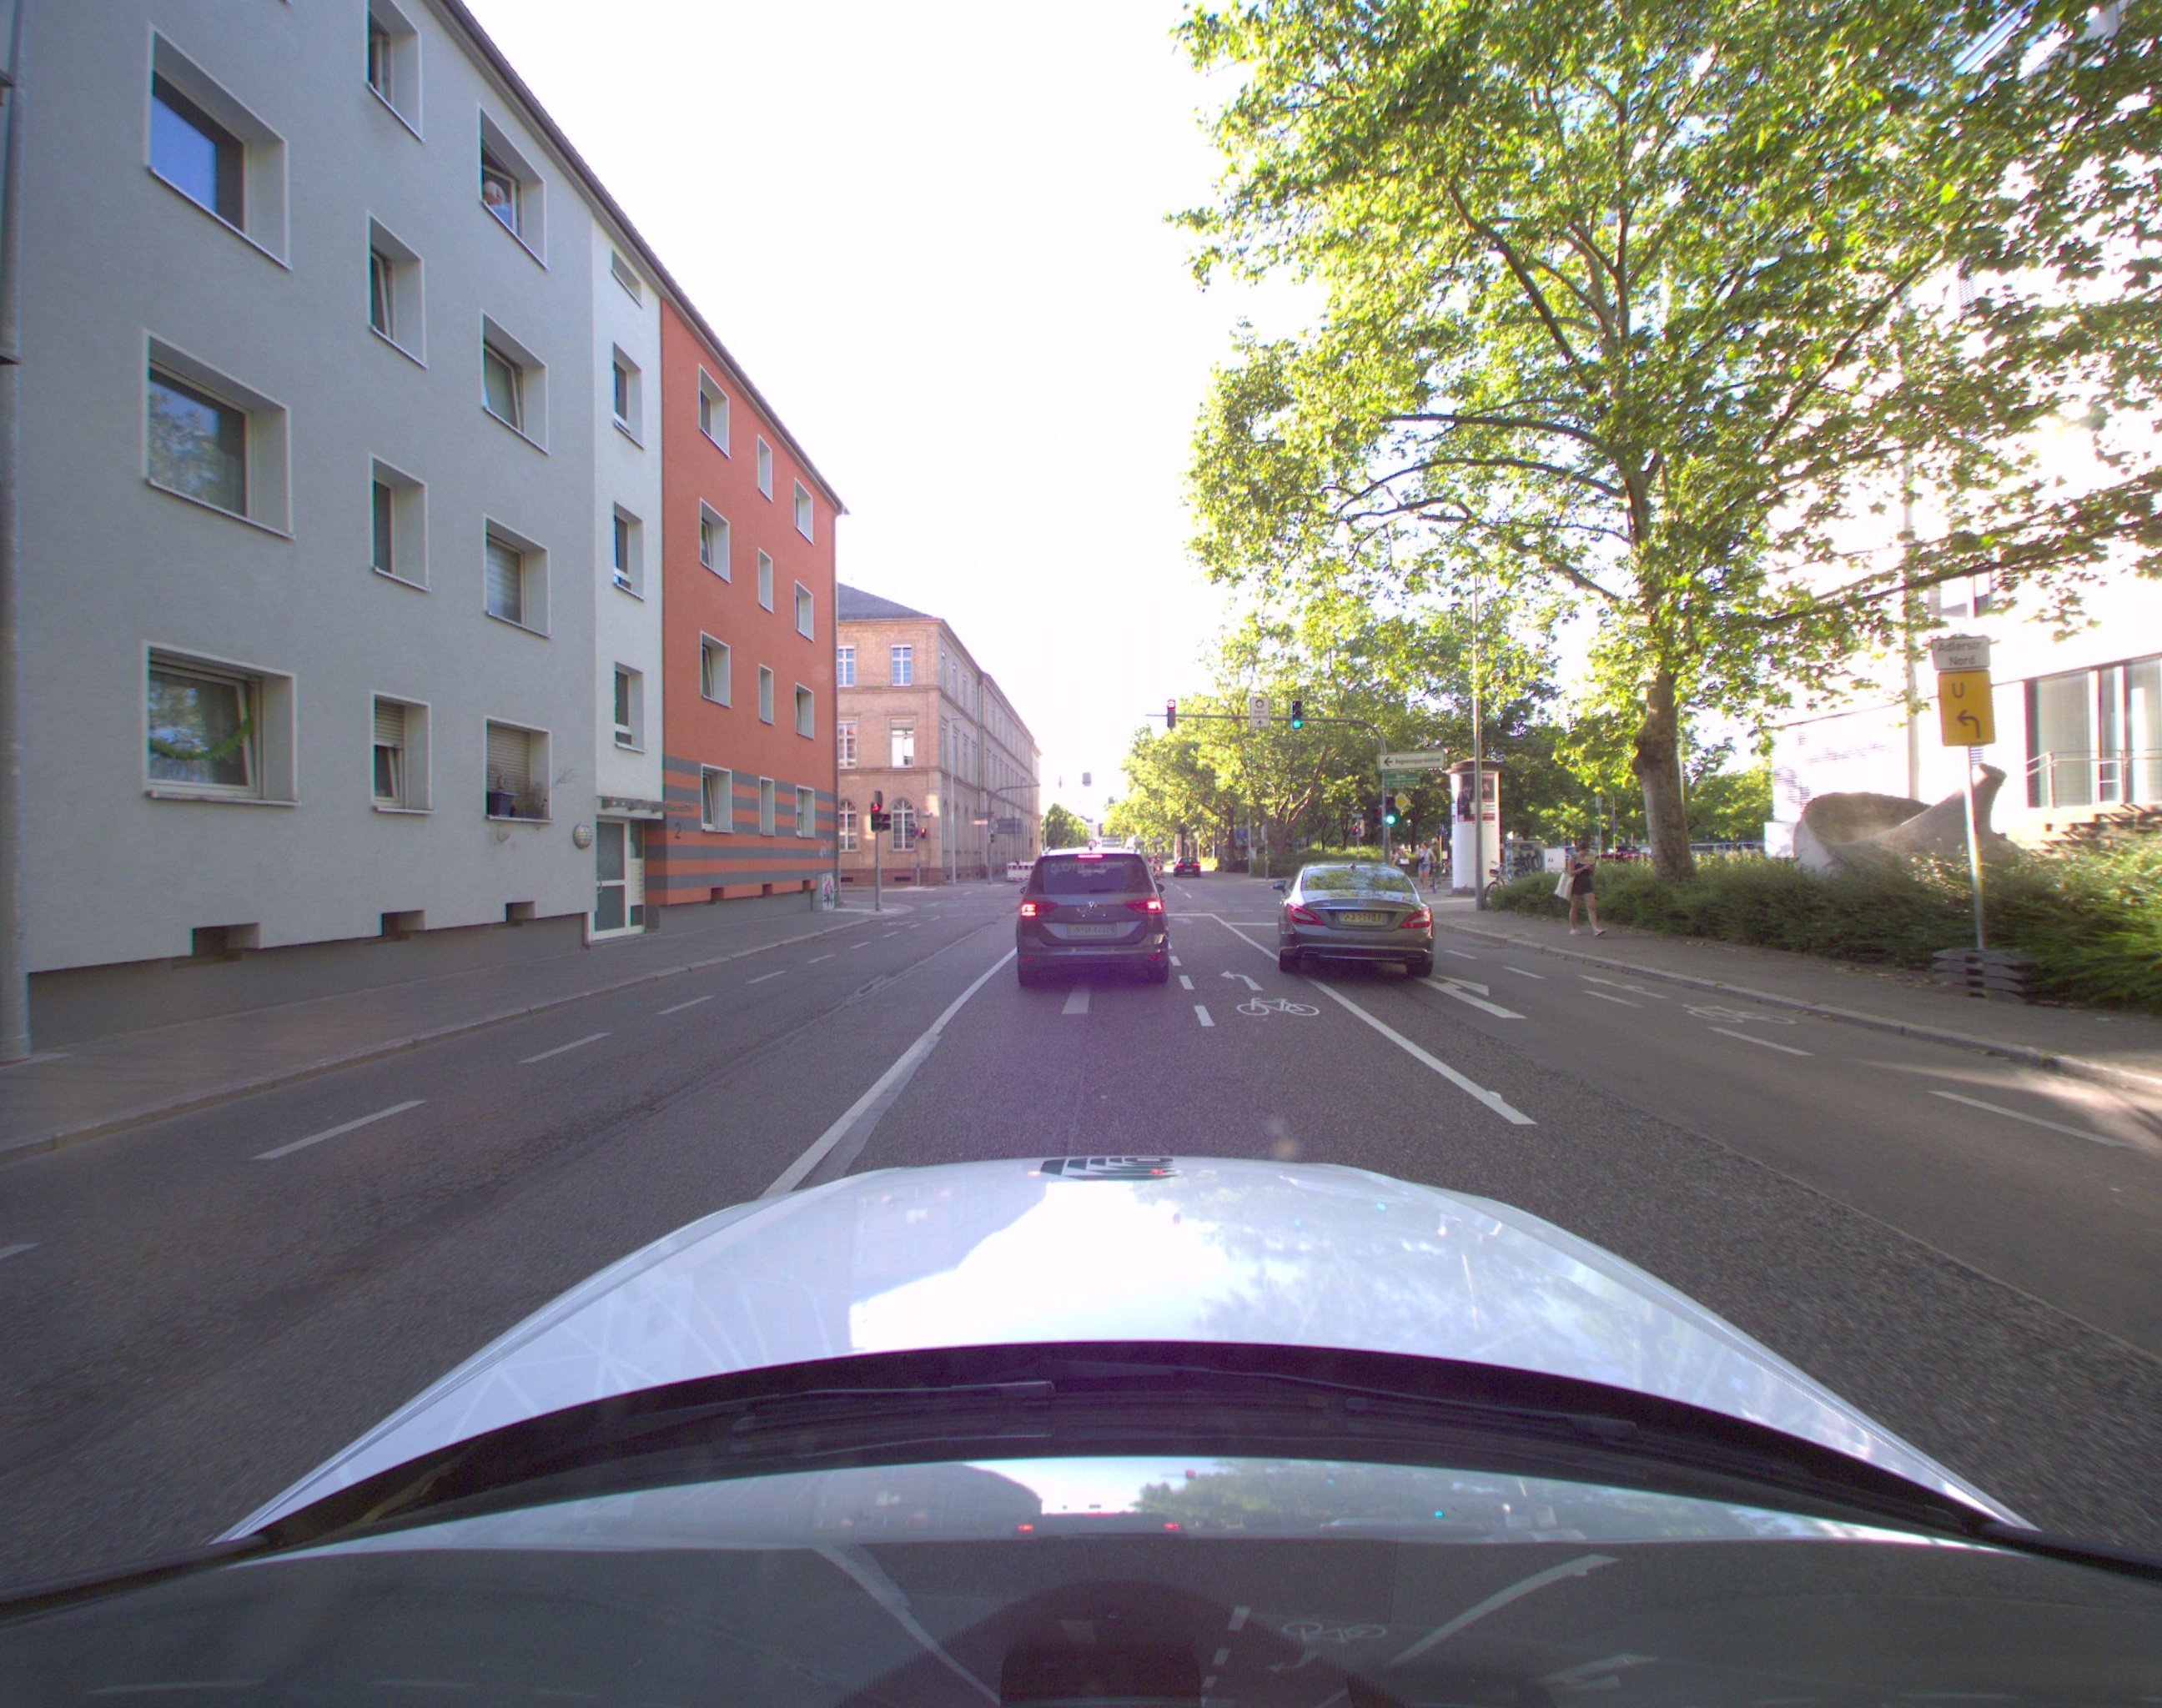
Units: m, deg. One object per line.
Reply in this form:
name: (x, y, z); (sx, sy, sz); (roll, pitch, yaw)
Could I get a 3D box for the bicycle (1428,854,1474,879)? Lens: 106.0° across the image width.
bicycle: (18.433, 0.626, 40.621); (2.023, 1.220, 0.599); (0, -1, 2)

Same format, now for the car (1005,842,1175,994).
car: (0.231, 0.710, 10.802); (1.801, 1.612, 4.004); (-1, 0, 4)

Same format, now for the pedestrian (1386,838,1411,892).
pedestrian: (11.053, 0.382, 28.364); (0.725, 1.808, 0.914); (-2, -2, 23)

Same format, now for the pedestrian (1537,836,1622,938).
pedestrian: (8.502, 0.536, 13.931); (0.795, 1.630, 0.908); (-5, 0, 3)

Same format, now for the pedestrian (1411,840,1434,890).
pedestrian: (11.756, 0.379, 28.030); (0.677, 1.697, 0.975); (0, -1, 20)

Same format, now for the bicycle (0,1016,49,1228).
bicycle: (-5.035, 1.193, 2.789); (0.546, 0.891, 1.869); (-3, 0, 2)

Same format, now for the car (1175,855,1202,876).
car: (7.624, 0.795, 57.873); (1.681, 1.440, 3.907); (1, 0, 5)

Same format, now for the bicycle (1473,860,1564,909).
bicycle: (10.915, 0.749, 20.348); (1.968, 1.190, 0.528); (0, -1, 1)

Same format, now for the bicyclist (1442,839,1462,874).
bicyclist: (18.492, 0.129, 40.600); (0.707, 1.697, 0.676); (0, -1, 2)

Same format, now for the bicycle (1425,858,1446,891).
bicycle: (12.165, 0.695, 27.970); (0.520, 1.100, 1.750); (0, 0, 20)

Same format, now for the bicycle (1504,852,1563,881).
bicycle: (20.703, 0.584, 37.295); (2.279, 1.326, 0.661); (0, -1, 3)

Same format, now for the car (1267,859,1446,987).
car: (3.625, 0.790, 11.505); (1.831, 1.429, 4.531); (0, 0, 11)

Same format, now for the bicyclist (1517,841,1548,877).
bicyclist: (20.666, 0.232, 37.277); (0.959, 1.615, 0.871); (0, -1, 4)

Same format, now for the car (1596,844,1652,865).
car: (40.214, 0.025, 60.410); (1.623, 1.482, 3.796); (0, 0, 1)

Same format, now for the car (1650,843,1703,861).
car: (47.889, -0.150, 65.569); (1.566, 1.468, 3.796); (0, 0, 1)
